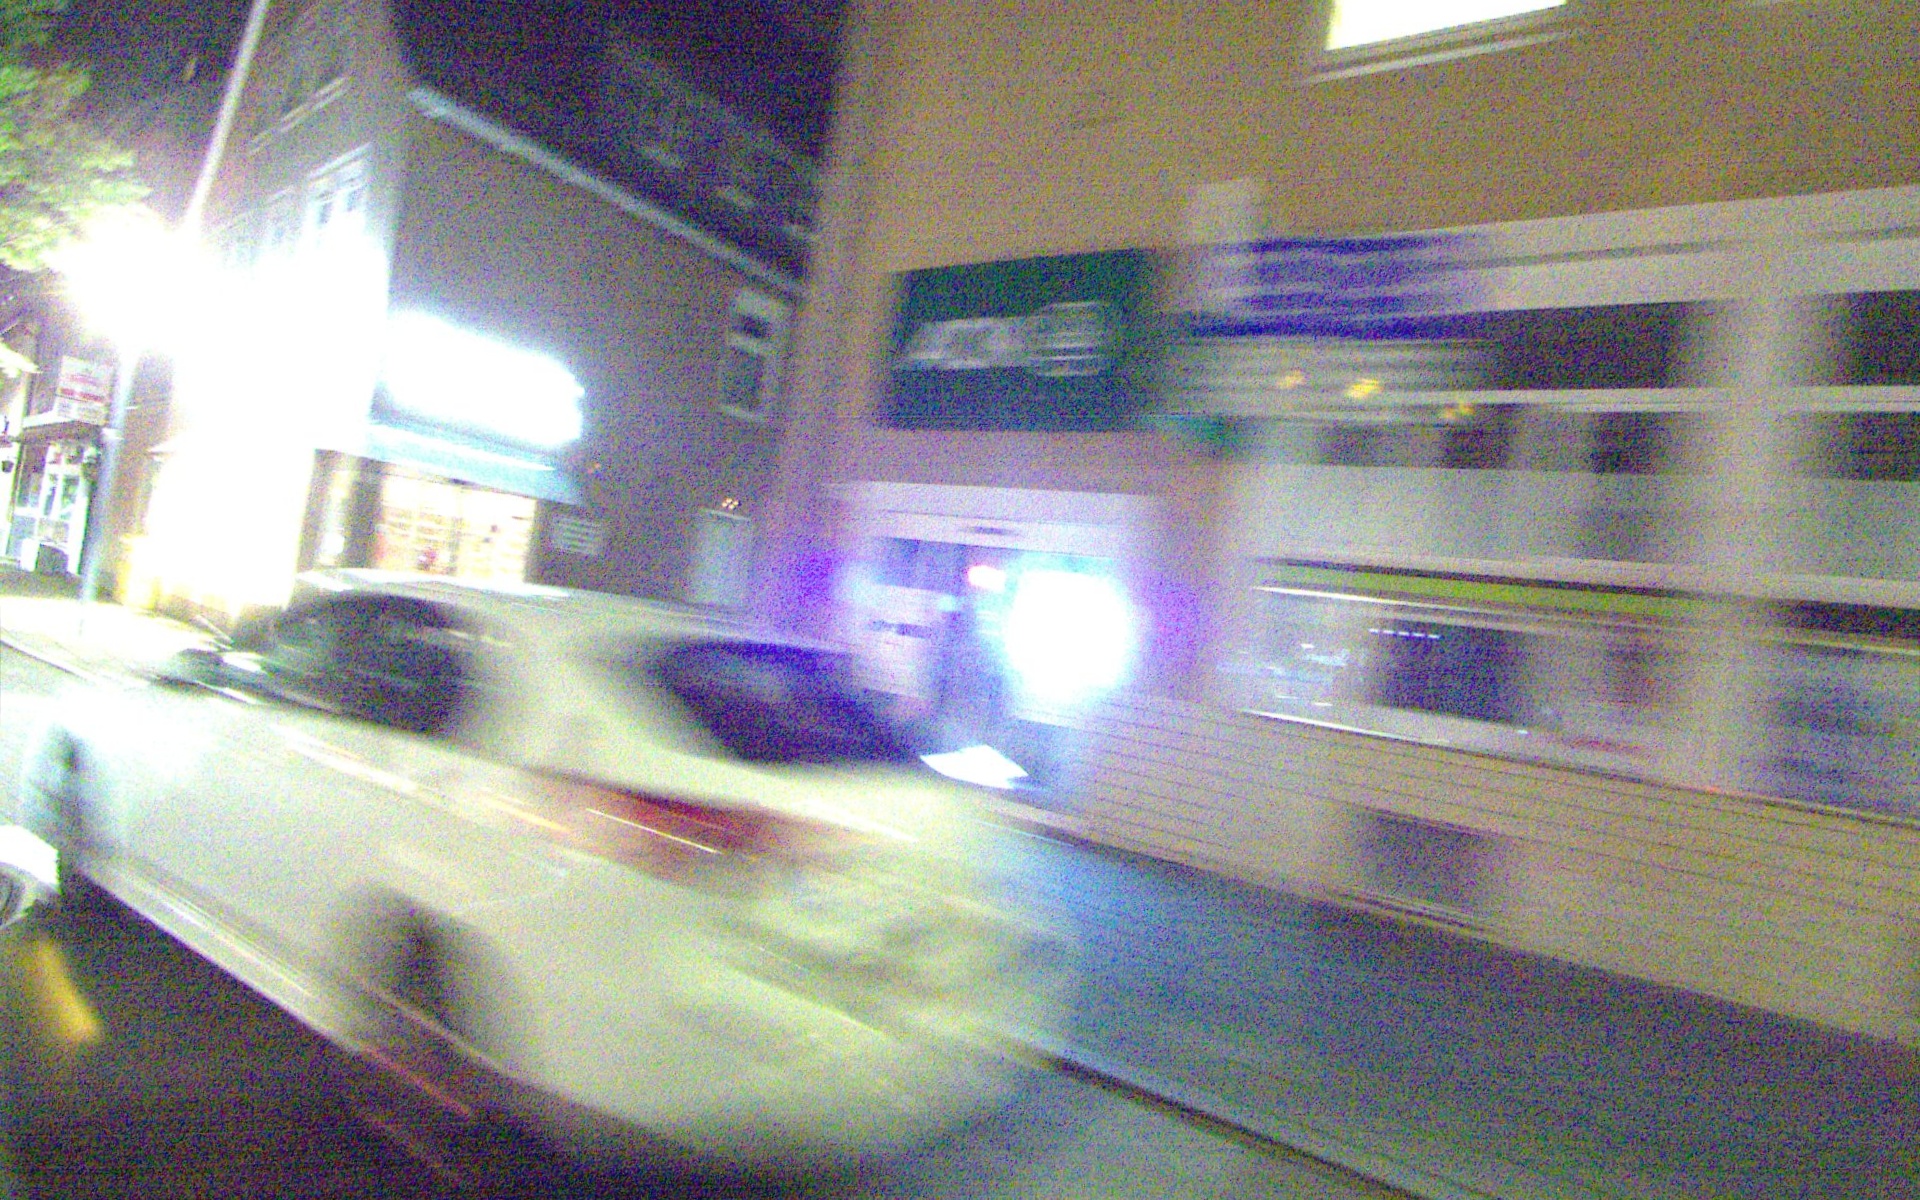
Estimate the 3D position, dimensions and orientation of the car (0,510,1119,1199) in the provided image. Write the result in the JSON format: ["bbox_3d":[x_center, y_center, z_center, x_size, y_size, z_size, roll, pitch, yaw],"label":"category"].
[{"bbox_3d":[-1.913,0.626,3.883,4.561,1.504,1.745,5,-3,33],"label":"car"}]
